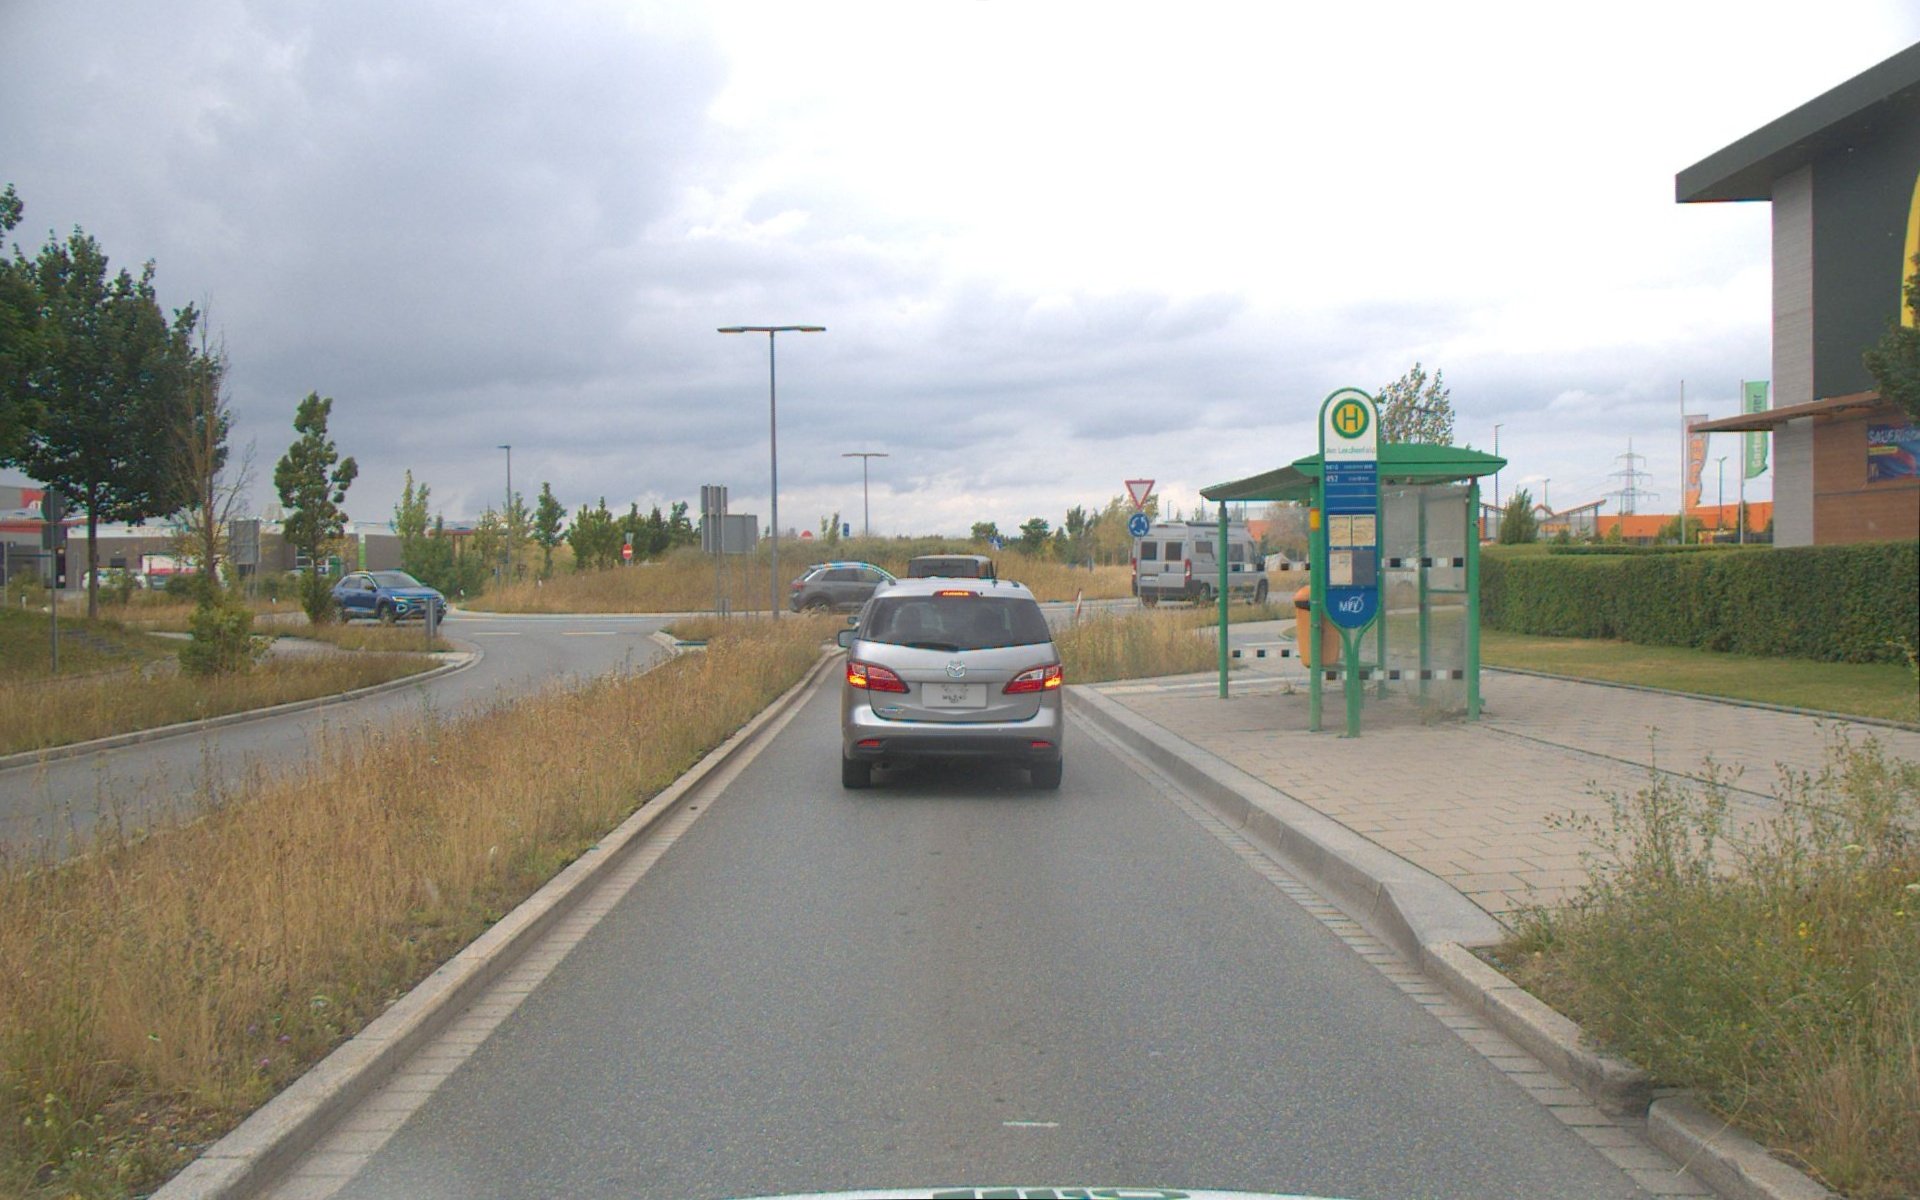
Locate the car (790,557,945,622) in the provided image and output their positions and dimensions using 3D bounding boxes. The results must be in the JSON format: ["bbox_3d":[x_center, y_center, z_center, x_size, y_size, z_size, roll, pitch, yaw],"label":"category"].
[{"bbox_3d":[-2.567,-0.305,45.402,4.109,1.620,2.063,-2,1,-5],"label":"car"}]

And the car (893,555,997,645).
[{"bbox_3d":[-0.258,-0.018,36.841,2.015,1.857,4.788,0,0,3],"label":"car"}]

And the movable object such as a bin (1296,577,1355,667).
[{"bbox_3d":[3.346,0.200,15.168,0.447,0.812,0.380,0,0,-2],"label":"movable object such as a bin"}]

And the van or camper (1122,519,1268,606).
[{"bbox_3d":[7.286,-1.135,50.868,2.265,2.549,5.184,0,1,37],"label":"van or camper"}]

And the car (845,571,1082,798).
[{"bbox_3d":[-0.058,0.581,13.807,1.695,1.628,3.805,0,1,-3],"label":"car"}]

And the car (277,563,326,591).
[{"bbox_3d":[-46.749,-1.636,117.503,1.953,1.892,4.000,0,1,-1],"label":"car"}]

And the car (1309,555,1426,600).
[{"bbox_3d":[16.680,-0.933,67.824,4.504,1.788,2.002,0,0,9],"label":"car"}]

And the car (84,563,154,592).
[{"bbox_3d":[-59.970,-1.574,117.975,3.907,2.049,1.999,0,1,-3],"label":"car"}]

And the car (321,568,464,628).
[{"bbox_3d":[-16.636,-0.052,48.440,4.142,1.555,1.841,-2,0,35],"label":"car"}]

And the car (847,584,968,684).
[{"bbox_3d":[-0.780,0.496,27.013,1.807,1.443,4.225,-1,1,0],"label":"car"}]
